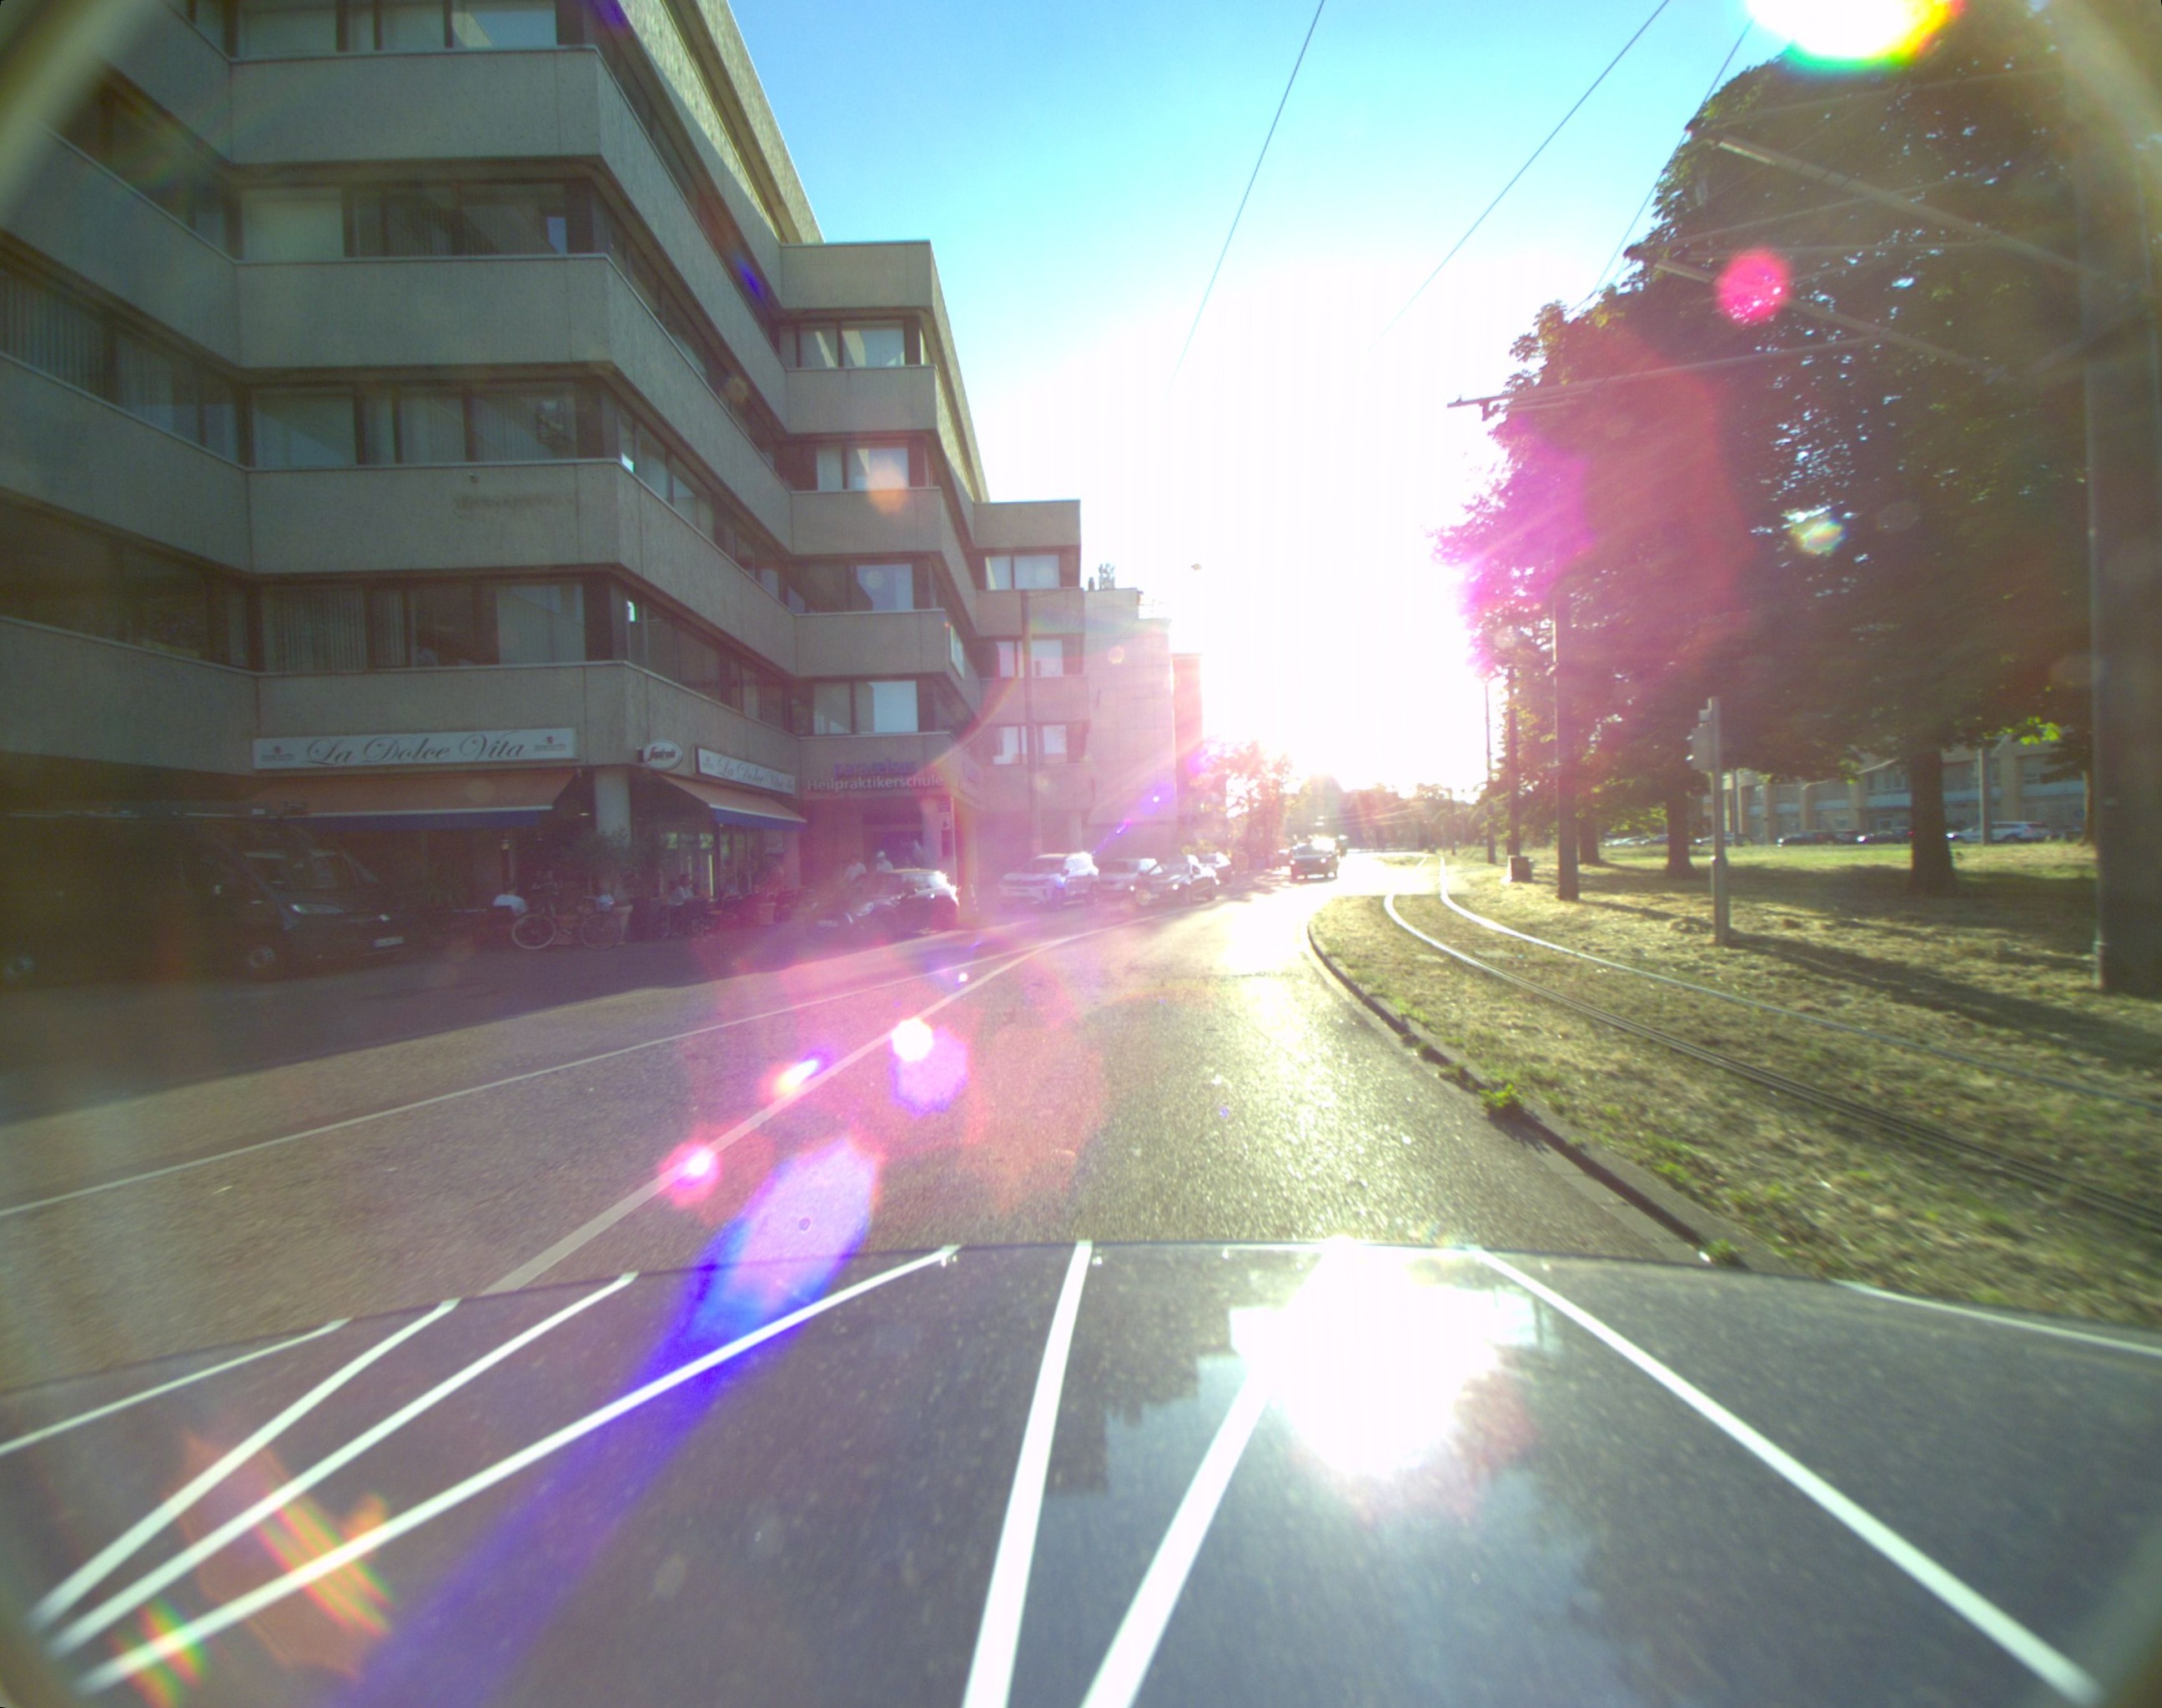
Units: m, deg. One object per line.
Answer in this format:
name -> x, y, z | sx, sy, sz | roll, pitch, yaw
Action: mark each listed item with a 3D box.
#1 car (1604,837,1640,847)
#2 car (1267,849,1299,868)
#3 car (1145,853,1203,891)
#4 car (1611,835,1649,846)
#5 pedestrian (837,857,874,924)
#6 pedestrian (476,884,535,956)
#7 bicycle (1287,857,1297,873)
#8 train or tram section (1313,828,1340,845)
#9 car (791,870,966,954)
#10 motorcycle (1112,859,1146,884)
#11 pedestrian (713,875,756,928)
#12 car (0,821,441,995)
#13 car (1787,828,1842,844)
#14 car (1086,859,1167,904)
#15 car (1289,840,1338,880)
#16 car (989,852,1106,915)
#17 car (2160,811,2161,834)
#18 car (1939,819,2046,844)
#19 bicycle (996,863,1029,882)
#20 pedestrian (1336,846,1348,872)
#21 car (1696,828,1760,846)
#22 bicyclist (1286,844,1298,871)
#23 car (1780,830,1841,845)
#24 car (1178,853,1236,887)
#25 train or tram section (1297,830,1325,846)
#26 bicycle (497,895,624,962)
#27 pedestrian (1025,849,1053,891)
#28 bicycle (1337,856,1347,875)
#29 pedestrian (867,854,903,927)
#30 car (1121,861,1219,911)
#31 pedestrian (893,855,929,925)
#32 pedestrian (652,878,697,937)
car -> 81.284, -1.821, 114.222 | 3.996, 1.412, 1.903 | -2, 0, 2
car -> 16.438, 0.340, 61.685 | 1.729, 1.464, 3.906 | 0, 1, 27
car -> 4.224, 0.756, 34.159 | 1.608, 1.548, 3.616 | 0, 1, 24
car -> 78.165, -1.887, 108.250 | 3.995, 1.412, 1.903 | -2, 0, 5
pedestrian -> -6.005, 0.958, 20.243 | 0.623, 1.730, 0.663 | 1, 2, 26
pedestrian -> -10.701, 1.214, 14.147 | 0.554, 1.274, 0.652 | -1, 1, -2
bicycle -> 14.144, 0.751, 50.811 | 0.576, 1.022, 1.859 | -2, 0, 16
train or tram section -> 55.297, -3.871, 171.361 | 2.780, 3.515, 10.571 | -2, 0, 1
car -> -4.197, 1.131, 16.405 | 1.663, 1.433, 3.828 | 0, 1, 22
motorcycle -> 2.667, 0.955, 42.017 | 1.785, 1.324, 0.584 | -1, 1, 13
pedestrian -> -8.825, 1.195, 19.361 | 0.768, 1.274, 0.662 | -1, 1, -3
car -> -13.730, 0.769, 12.019 | 5.330, 2.428, 2.091 | -1, 1, 0
car -> 67.675, -1.646, 70.189 | 1.554, 1.346, 3.520 | -3, 0, -3
car -> 1.776, 0.960, 28.368 | 1.663, 1.433, 3.861 | 0, 1, 26
car -> 12.577, 0.284, 40.850 | 1.917, 1.978, 4.954 | -2, 0, 24
car -> -0.918, 0.815, 23.762 | 1.869, 1.704, 4.512 | 0, 1, 23
car -> 63.763, -1.880, 42.520 | 1.554, 1.346, 3.519 | -3, 0, -9
car -> 60.751, -1.446, 50.748 | 1.775, 1.473, 4.308 | -2, 0, -4
bicycle -> -4.018, 1.096, 44.655 | 1.867, 1.068, 0.484 | -1, 1, 12
pedestrian -> 16.907, 0.319, 49.223 | 0.678, 1.639, 0.903 | -3, 0, 18
car -> 60.724, -1.559, 71.395 | 1.893, 1.471, 4.781 | -3, 0, 0
bicyclist -> 14.127, 0.242, 50.776 | 0.675, 1.797, 0.995 | -2, 0, 16
car -> 60.690, -1.360, 63.286 | 1.524, 1.147, 3.598 | -2, 0, 0
car -> 6.470, 0.766, 38.580 | 1.783, 1.548, 4.241 | 0, 1, 26
train or tram section -> 55.293, -3.822, 183.250 | 2.780, 3.515, 13.252 | -2, 0, 1
bicycle -> -9.433, 1.331, 13.828 | 1.816, 1.112, 0.534 | 0, 1, -14
pedestrian -> -1.718, 0.637, 31.004 | 0.990, 1.663, 0.642 | -1, 1, 11
bicycle -> 16.910, 0.734, 49.264 | 0.529, 1.152, 1.851 | -4, 1, 18
pedestrian -> -5.143, 0.941, 19.972 | 0.623, 1.847, 0.663 | 1, 2, 26
car -> 2.923, 0.971, 24.049 | 1.773, 1.300, 4.247 | -2, 0, 25
pedestrian -> -4.355, 0.909, 19.477 | 0.579, 1.750, 0.663 | 1, 2, 26
pedestrian -> -9.219, 1.211, 17.250 | 0.652, 1.274, 0.662 | -1, 1, -5
